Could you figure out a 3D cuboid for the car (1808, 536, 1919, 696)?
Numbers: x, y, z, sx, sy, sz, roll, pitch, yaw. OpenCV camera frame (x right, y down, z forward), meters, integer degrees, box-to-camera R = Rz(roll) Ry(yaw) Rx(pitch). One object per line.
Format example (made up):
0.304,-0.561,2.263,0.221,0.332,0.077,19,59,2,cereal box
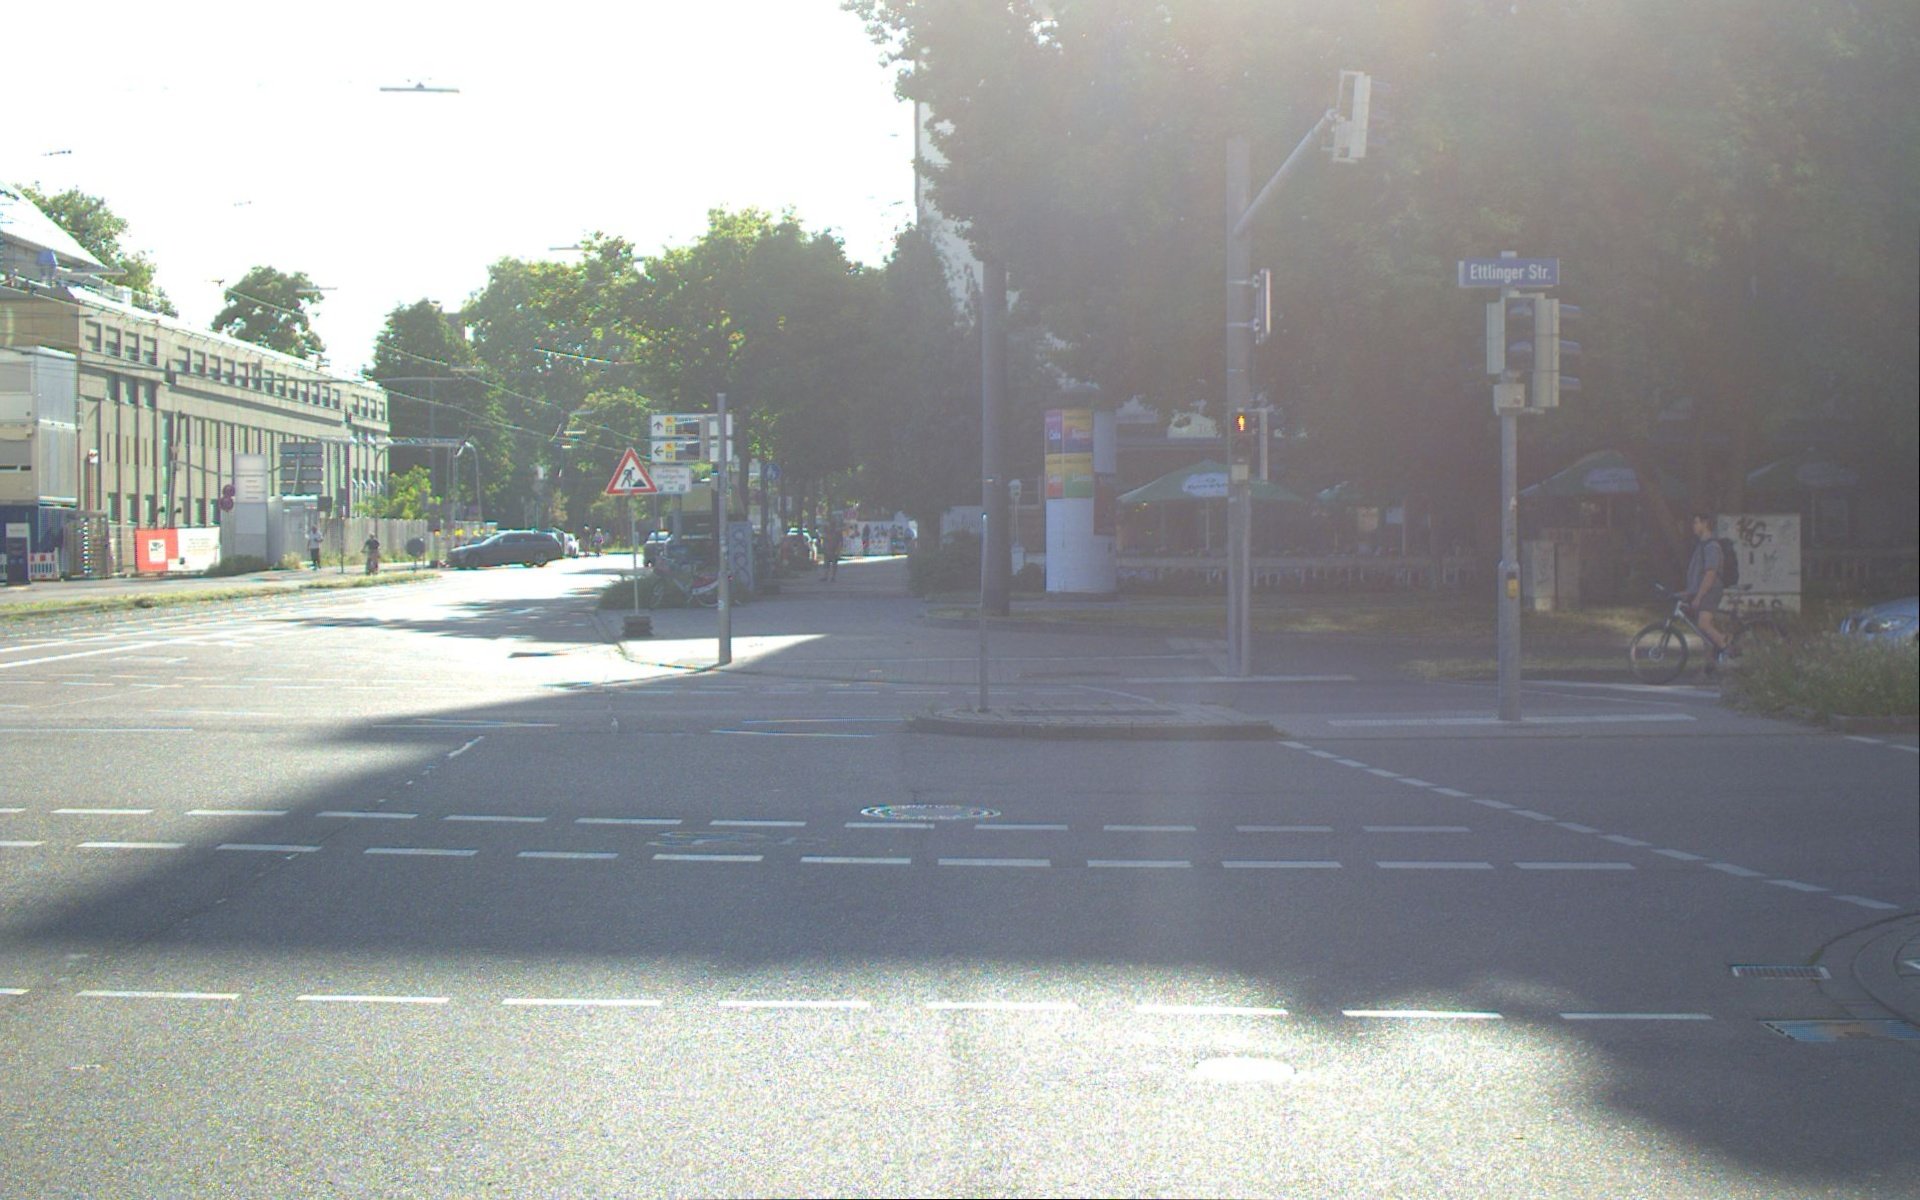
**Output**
10.828,0.170,33.573,4.576,1.511,2.000,1,0,0,car

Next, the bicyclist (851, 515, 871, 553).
-5.309,-3.531,184.229,0.890,2.007,0.749,1,0,-12,bicyclist

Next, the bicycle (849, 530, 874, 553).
-5.281,-3.134,184.140,0.890,1.215,2.794,1,1,-12,bicycle

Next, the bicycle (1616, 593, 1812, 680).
7.965,0.383,36.381,1.944,0.886,0.718,1,0,6,bicycle

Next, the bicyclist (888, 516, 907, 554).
-3.358,-3.513,185.063,0.890,2.007,0.749,1,0,-12,bicyclist

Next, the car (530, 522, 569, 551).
-23.241,-3.608,194.695,1.993,1.638,4.001,-1,1,-4,car

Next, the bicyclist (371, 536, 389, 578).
-21.025,-1.566,124.702,0.494,1.493,0.666,-1,1,2,bicyclist

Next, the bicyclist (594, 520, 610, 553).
-20.565,-3.649,197.498,0.750,1.913,1.215,1,0,-2,bicyclist

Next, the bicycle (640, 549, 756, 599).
-5.126,-0.510,67.221,2.244,0.937,0.654,-1,1,-5,bicycle

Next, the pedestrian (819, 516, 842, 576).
-3.675,-1.527,97.629,0.576,1.683,0.585,-1,1,-8,pedestrian

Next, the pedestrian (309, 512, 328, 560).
-25.538,-2.553,136.912,0.588,1.883,0.478,1,0,9,pedestrian

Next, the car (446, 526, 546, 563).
-20.942,-2.503,155.195,3.986,1.593,2.000,-1,1,-28,car

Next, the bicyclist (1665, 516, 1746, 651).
7.883,-0.180,36.379,0.747,1.401,0.702,1,0,6,bicyclist

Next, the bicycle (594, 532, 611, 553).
-20.553,-3.289,197.629,0.750,1.201,3.108,1,1,-2,bicycle

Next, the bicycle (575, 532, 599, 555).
-20.867,-3.159,192.470,0.751,1.201,3.107,1,1,5,bicycle

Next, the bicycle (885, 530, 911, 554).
-3.363,-3.116,185.001,0.890,1.215,2.794,1,1,-12,bicycle

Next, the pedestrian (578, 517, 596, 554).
-20.877,-3.615,192.348,0.751,2.056,1.050,1,0,5,pedestrian

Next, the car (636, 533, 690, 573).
-12.656,-1.996,146.634,1.993,1.634,4.000,1,1,-1,car
